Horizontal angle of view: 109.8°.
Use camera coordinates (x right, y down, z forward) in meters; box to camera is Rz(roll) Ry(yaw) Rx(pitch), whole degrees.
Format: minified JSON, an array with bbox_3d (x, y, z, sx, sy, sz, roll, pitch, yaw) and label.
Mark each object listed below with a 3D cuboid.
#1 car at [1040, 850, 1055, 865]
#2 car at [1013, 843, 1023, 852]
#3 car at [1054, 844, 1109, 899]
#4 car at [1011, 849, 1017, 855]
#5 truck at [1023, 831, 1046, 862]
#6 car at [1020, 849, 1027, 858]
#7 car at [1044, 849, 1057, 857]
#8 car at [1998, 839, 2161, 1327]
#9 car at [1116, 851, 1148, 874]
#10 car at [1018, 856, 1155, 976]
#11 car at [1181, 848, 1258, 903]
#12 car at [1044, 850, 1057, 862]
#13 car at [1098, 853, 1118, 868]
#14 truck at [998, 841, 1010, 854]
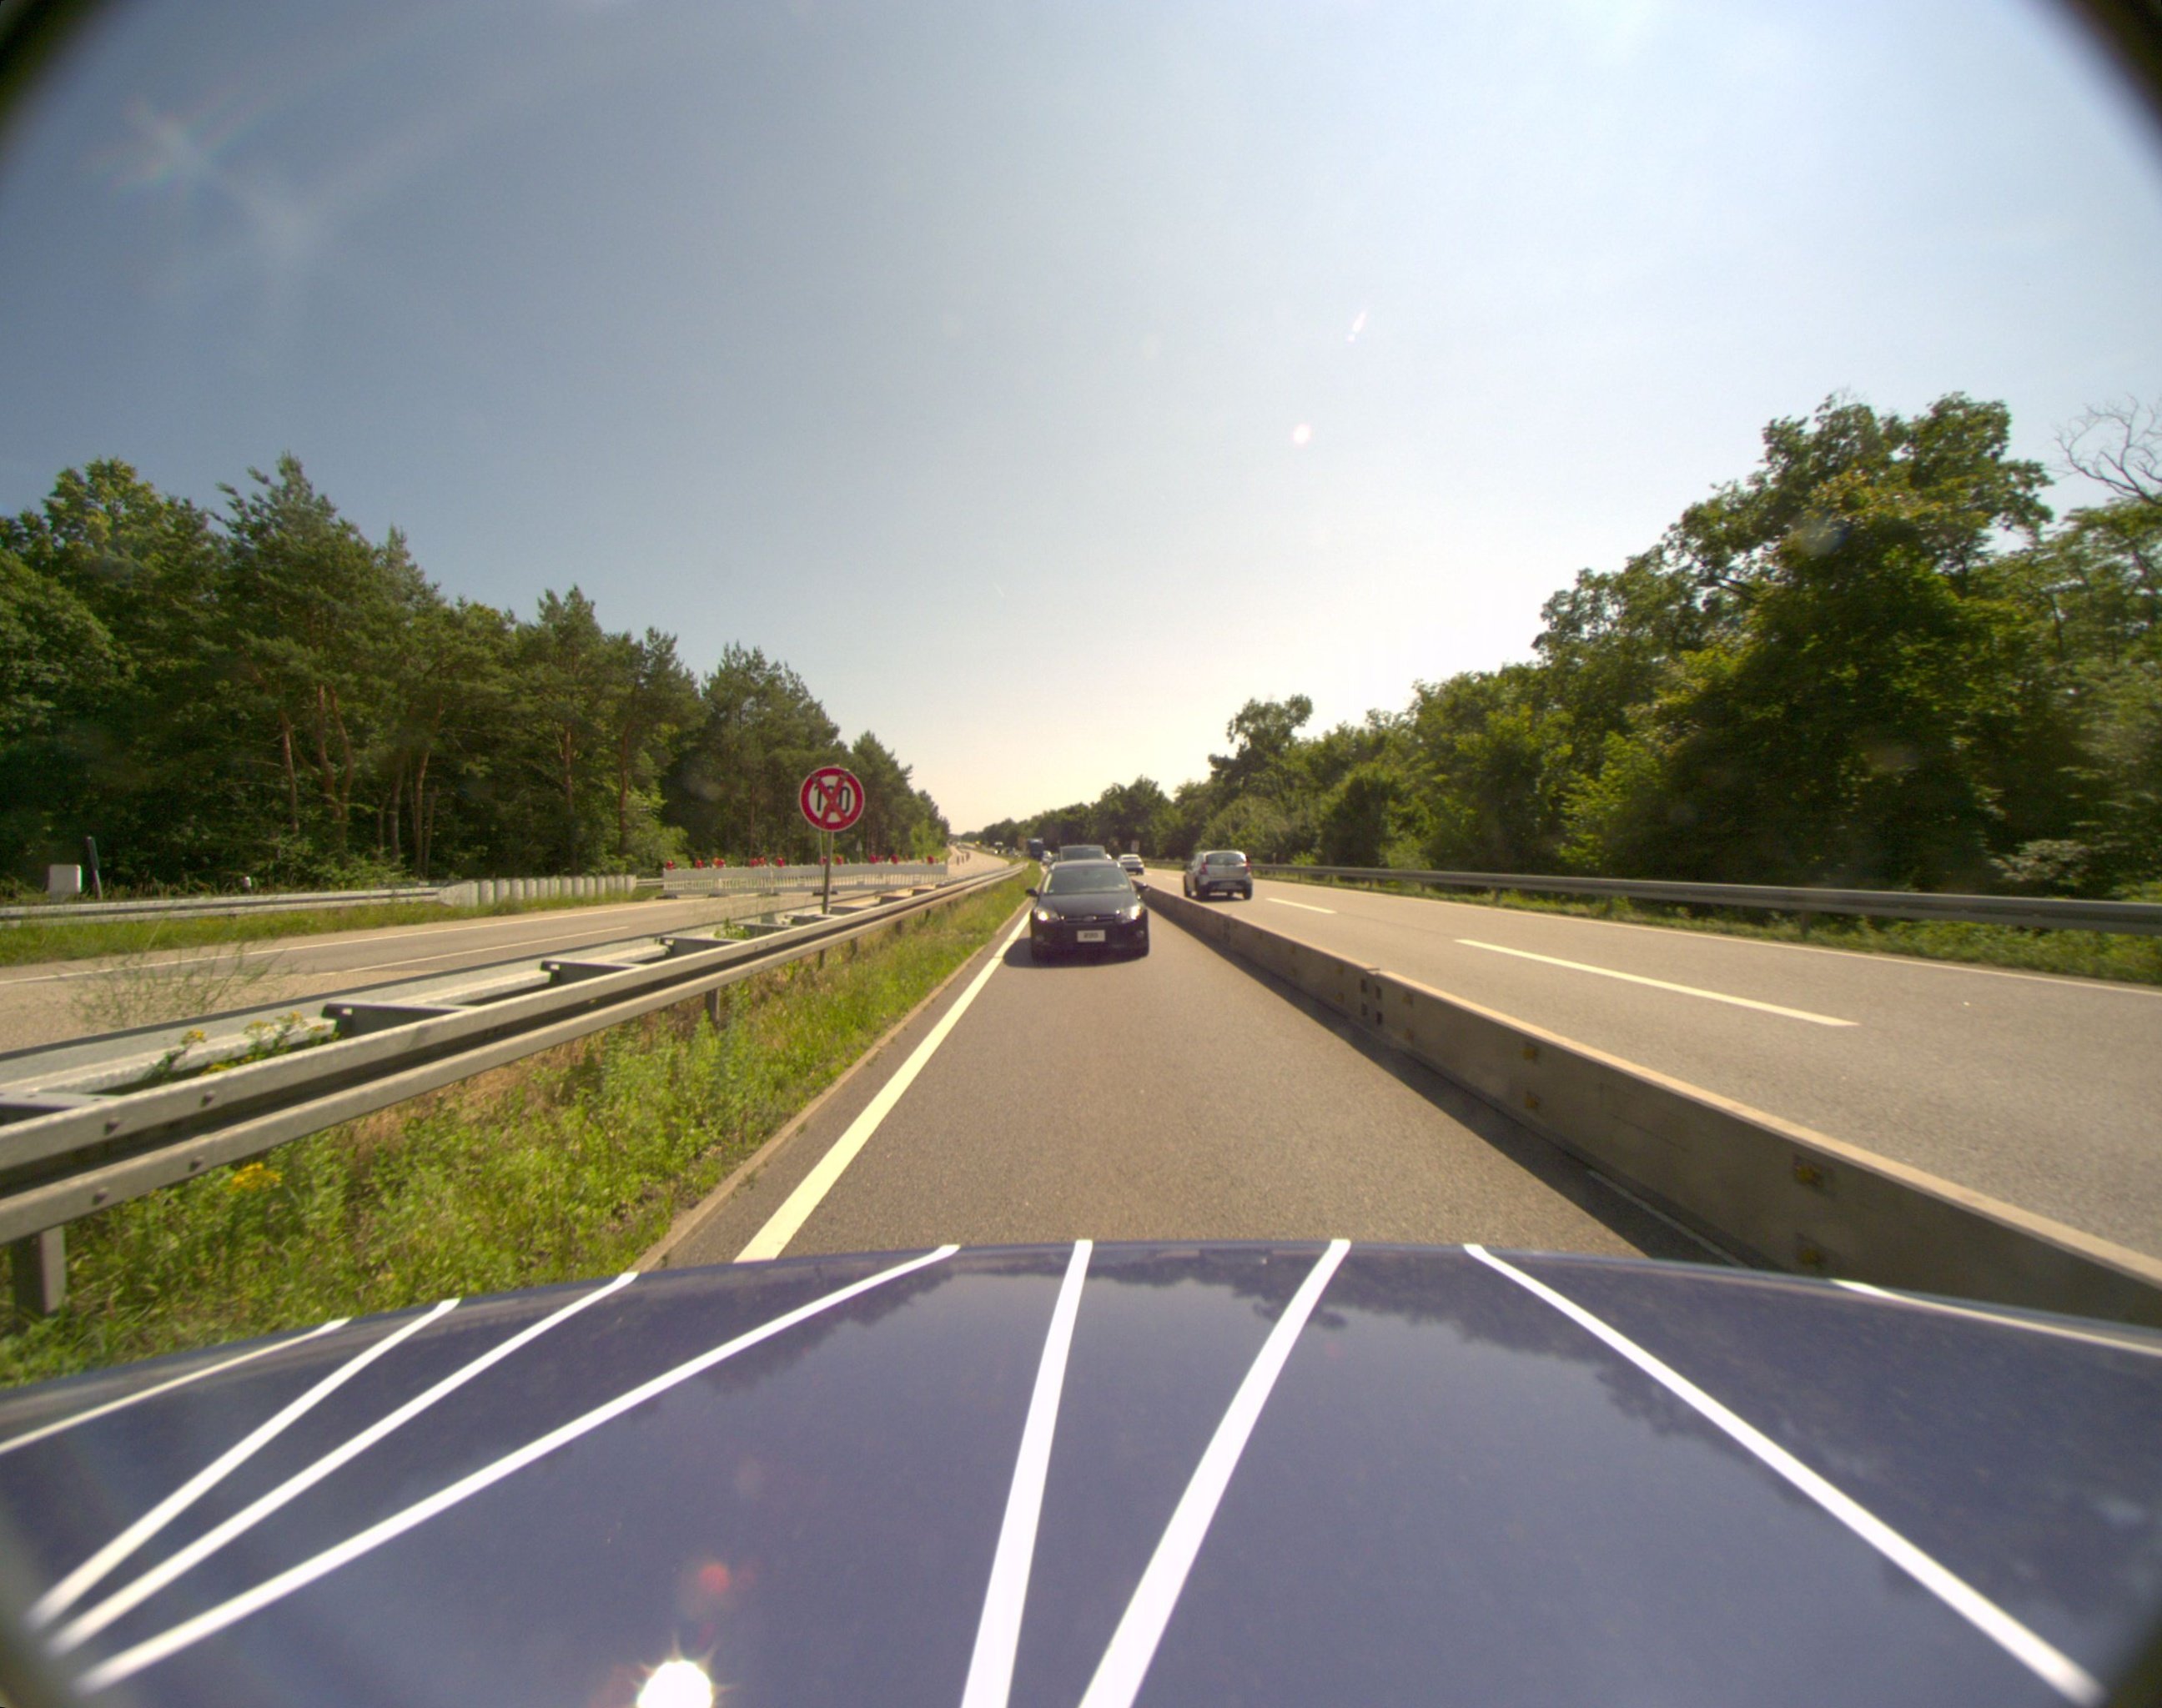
[{"bbox_3d":[-3.901,0.384,87.816,1.527,1.647,3.979,-1,0,-4],"label":"car"},{"bbox_3d":[-12.897,-1.375,155.820,1.999,1.773,3.998,-1,0,-4],"label":"car"},{"bbox_3d":[-0.008,0.631,30.720,1.959,1.902,4.934,-2,2,0],"label":"car"},{"bbox_3d":[-18.013,-0.490,204.250,1.528,1.647,3.977,-1,0,-8],"label":"car"},{"bbox_3d":[-8.454,-1.340,137.839,3.831,5.266,11.241,-1,0,-5],"label":"truck"},{"bbox_3d":[-12.723,-0.102,167.444,1.527,1.647,3.978,-3,2,-4],"label":"car"},{"bbox_3d":[-6.422,-0.227,159.191,1.855,1.592,4.316,-2,1,-13],"label":"car"},{"bbox_3d":[4.410,0.736,0.649,1.953,1.570,4.435,-2,1,2],"label":"car"},{"bbox_3d":[3.616,0.589,54.603,1.954,1.530,4.435,-2,0,-1],"label":"car"},{"bbox_3d":[0.022,0.872,13.078,1.847,1.537,4.934,-3,1,-1],"label":"car"},{"bbox_3d":[4.484,0.656,25.140,1.833,1.620,3.784,-1,0,0],"label":"car"},{"bbox_3d":[-4.142,0.296,102.619,1.527,1.647,3.752,0,0,-4],"label":"car"},{"bbox_3d":[2.684,0.620,77.031,1.729,1.487,4.387,-2,0,-2],"label":"car"},{"bbox_3d":[-26.025,-2.156,257.279,3.830,4.265,11.241,-1,0,-4],"label":"truck"}]
